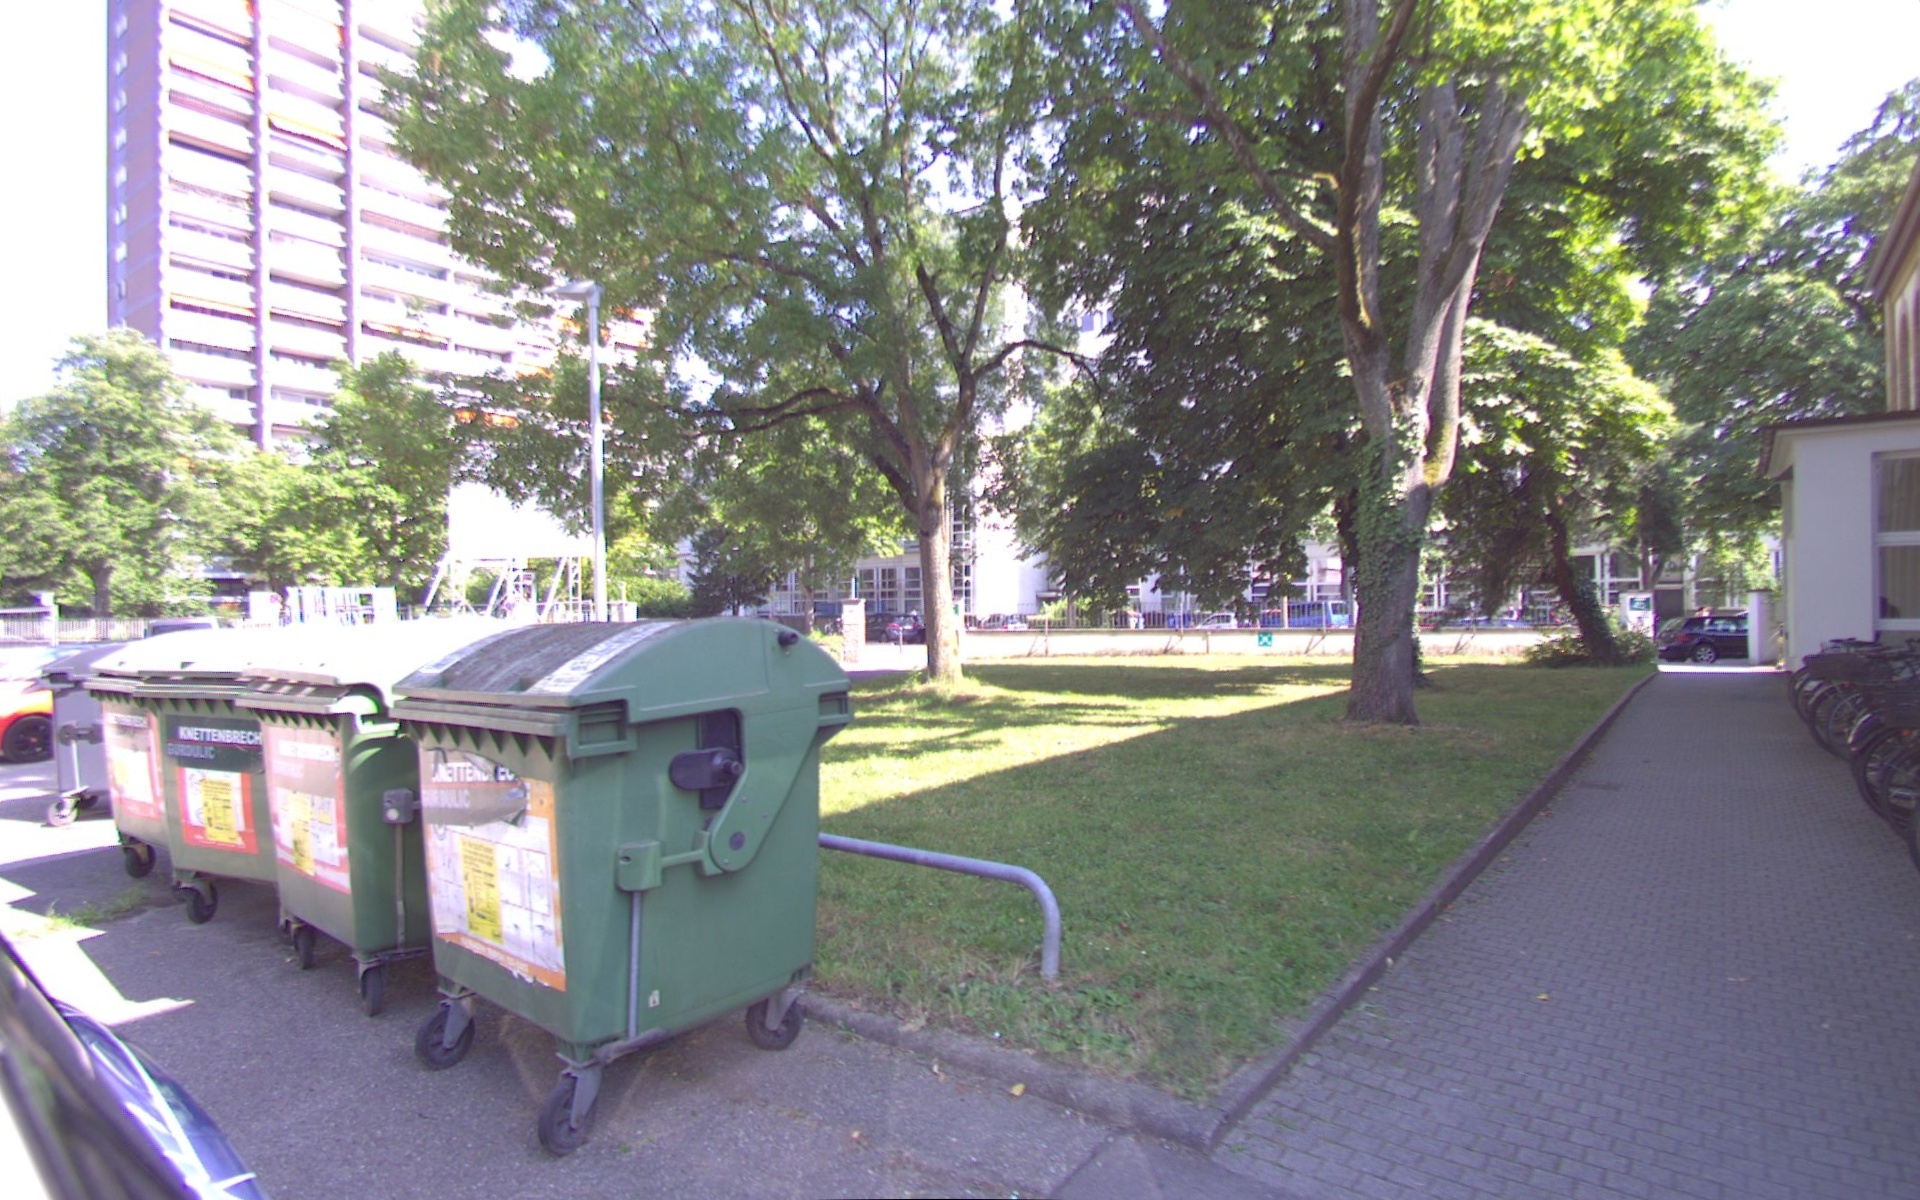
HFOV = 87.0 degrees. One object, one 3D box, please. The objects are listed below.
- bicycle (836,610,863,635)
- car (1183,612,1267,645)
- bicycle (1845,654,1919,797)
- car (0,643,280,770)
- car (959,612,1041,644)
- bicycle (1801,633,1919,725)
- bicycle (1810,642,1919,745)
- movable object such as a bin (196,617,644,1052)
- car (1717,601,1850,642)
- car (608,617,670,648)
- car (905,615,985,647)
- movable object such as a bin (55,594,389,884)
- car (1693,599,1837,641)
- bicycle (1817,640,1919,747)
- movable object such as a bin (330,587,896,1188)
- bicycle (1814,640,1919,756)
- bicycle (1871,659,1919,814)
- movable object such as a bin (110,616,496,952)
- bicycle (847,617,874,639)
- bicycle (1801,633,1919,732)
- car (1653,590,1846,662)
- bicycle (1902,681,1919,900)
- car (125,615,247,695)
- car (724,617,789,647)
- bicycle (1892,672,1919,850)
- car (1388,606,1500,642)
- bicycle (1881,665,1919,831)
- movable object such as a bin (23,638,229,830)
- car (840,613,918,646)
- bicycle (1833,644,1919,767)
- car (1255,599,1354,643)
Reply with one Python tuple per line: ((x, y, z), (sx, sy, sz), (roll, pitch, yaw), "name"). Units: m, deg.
((-6.358, 1.294, 58.539), (0.487, 1.389, 1.997), (-1, -1, 28), "bicycle")
((12.335, 1.311, 47.334), (1.680, 1.474, 3.862), (0, -1, -24), "car")
((7.236, 0.883, 7.068), (1.540, 1.000, 0.440), (-2, -2, 41), "bicycle")
((-11.631, 1.327, 13.576), (1.646, 1.423, 4.156), (-1, -2, 14), "car")
((1.915, 1.385, 50.137), (1.772, 1.497, 4.350), (0, -1, -35), "car")
((10.646, 0.895, 11.581), (1.538, 1.000, 0.440), (-1, 0, 36), "bicycle")
((9.495, 0.922, 10.041), (1.599, 0.997, 0.369), (-2, -1, 41), "bicycle")
((-2.286, 0.805, 4.308), (1.364, 1.442, 1.233), (-1, -1, 37), "movable object such as a bin")
((34.988, 0.914, 43.103), (1.798, 1.674, 4.011), (0, -1, -32), "car")
((-16.736, 1.657, 52.663), (1.813, 1.421, 4.157), (-2, 1, -36), "car")
((-0.810, 1.535, 50.140), (1.772, 1.487, 4.193), (0, -1, -38), "car")
((-4.427, 0.730, 6.106), (1.335, 1.493, 1.235), (-1, -1, 32), "movable object such as a bin")
((30.680, 0.754, 38.668), (3.955, 1.493, 1.640), (-1, -1, 9), "car")
((9.209, 0.883, 9.659), (1.540, 1.000, 0.440), (-2, -2, 41), "bicycle")
((-1.125, 0.703, 3.343), (1.348, 1.442, 1.233), (-1, -1, 37), "movable object such as a bin")
((8.563, 0.858, 8.929), (1.540, 1.000, 0.440), (-2, -2, 41), "bicycle")
((6.854, 0.887, 6.426), (1.540, 1.000, 0.440), (-2, -2, 41), "bicycle")
((-3.336, 0.815, 5.216), (1.217, 1.442, 1.237), (-1, -1, 27), "movable object such as a bin")
((-5.669, 1.581, 57.866), (0.487, 1.209, 1.997), (-1, -1, 28), "bicycle")
((9.817, 0.853, 10.577), (1.540, 1.000, 0.440), (-2, -2, 41), "bicycle")
((22.510, 0.767, 29.071), (3.980, 1.929, 1.981), (-2, -2, 27), "car")
((5.252, 0.879, 4.381), (1.665, 1.000, 0.440), (-2, -2, 41), "bicycle")
((-19.698, 1.316, 25.944), (1.889, 1.794, 4.325), (-2, 0, -30), "car")
((-10.391, 1.623, 51.582), (1.627, 1.463, 4.008), (-1, -1, -38), "car")
((6.165, 0.912, 5.515), (1.540, 1.000, 0.440), (-2, -2, 41), "bicycle")
((21.727, 1.111, 45.563), (1.753, 1.550, 4.230), (0, -2, -36), "car")
((6.524, 0.903, 5.989), (1.540, 1.000, 0.440), (-2, -2, 41), "bicycle")
((-7.019, 1.051, 8.631), (1.227, 1.407, 1.408), (0, -1, -34), "movable object such as a bin")
((-4.082, 1.462, 50.568), (1.778, 1.577, 4.400), (0, -1, -37), "car")
((8.240, 0.870, 8.334), (1.539, 1.000, 0.440), (-2, -2, 39), "bicycle")
((15.695, 0.968, 46.279), (1.758, 1.921, 4.009), (0, -2, -36), "car")
